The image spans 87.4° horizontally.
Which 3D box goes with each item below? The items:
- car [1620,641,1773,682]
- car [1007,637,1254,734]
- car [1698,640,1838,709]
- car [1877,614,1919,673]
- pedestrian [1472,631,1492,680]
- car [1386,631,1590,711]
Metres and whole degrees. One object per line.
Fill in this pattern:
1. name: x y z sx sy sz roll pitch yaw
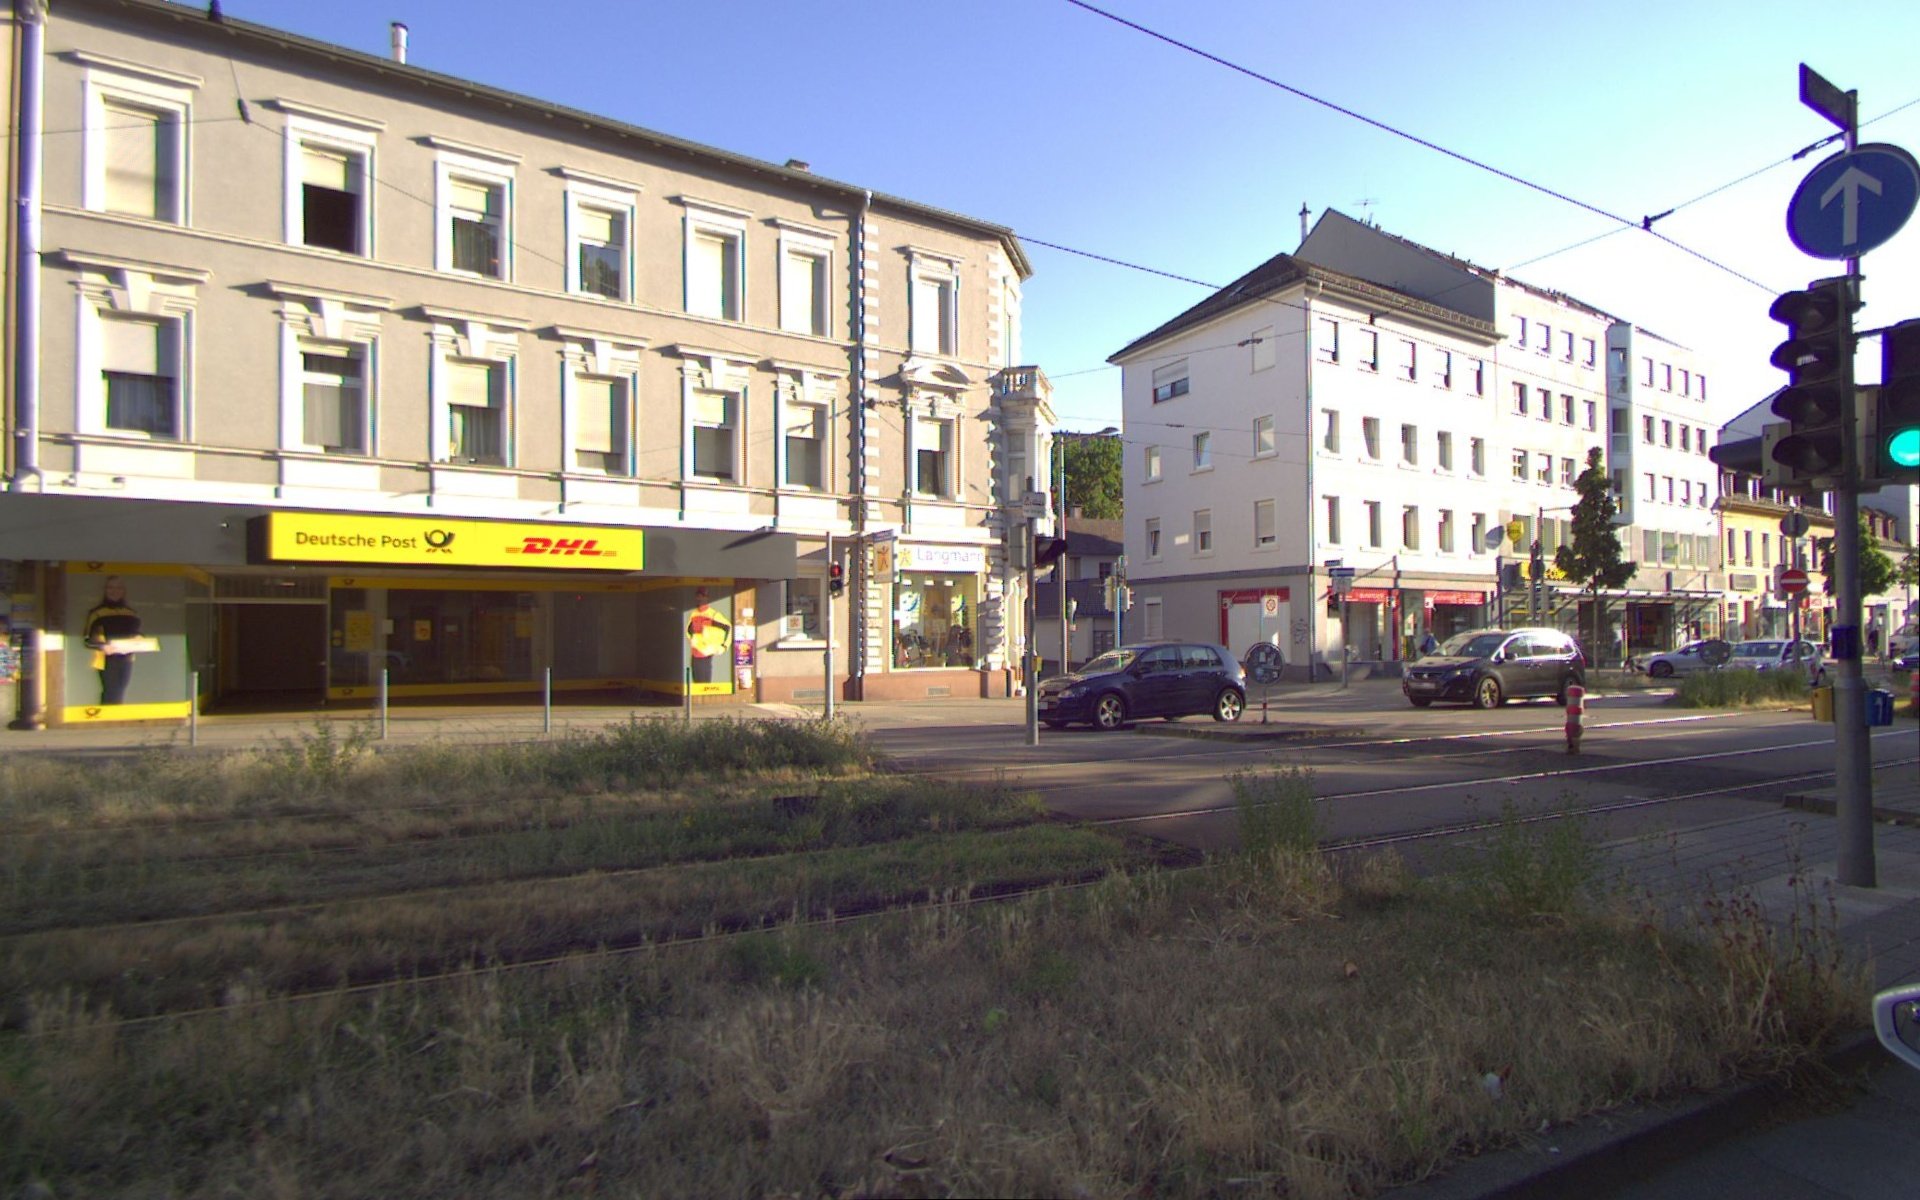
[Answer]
1. car: 28.443 2.342 38.969 4.467 1.431 1.998 0 -2 26
2. car: 3.012 1.453 17.691 3.991 1.469 1.775 0 -3 -27
3. car: 23.100 2.072 28.703 3.954 1.828 1.888 2 -2 -31
4. car: 34.823 1.571 35.923 3.954 2.040 1.984 2 -2 -31
5. pedestrian: 18.685 1.994 35.936 0.501 1.736 0.425 1 -2 -24
6. car: 11.858 1.559 22.529 4.449 1.636 1.775 1 -4 -27
